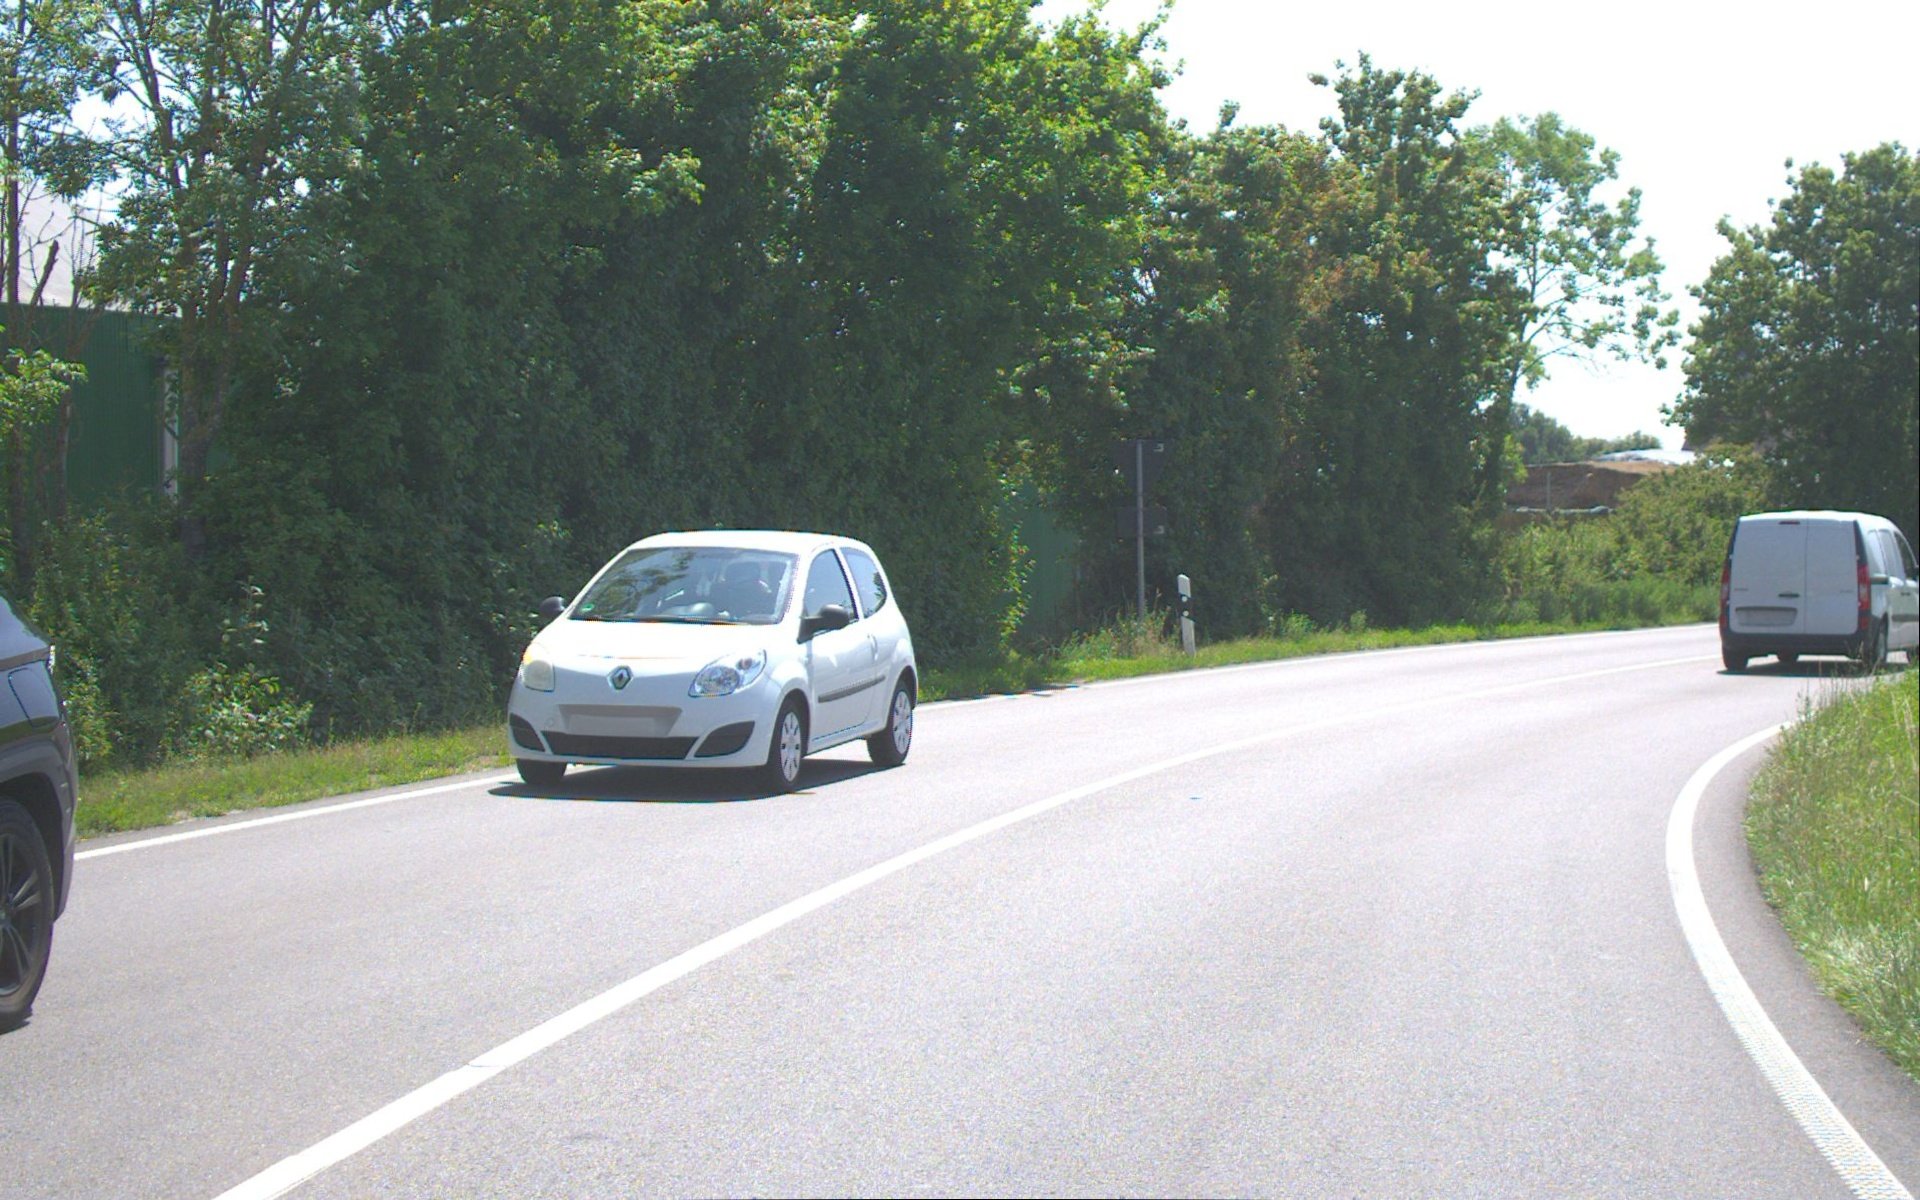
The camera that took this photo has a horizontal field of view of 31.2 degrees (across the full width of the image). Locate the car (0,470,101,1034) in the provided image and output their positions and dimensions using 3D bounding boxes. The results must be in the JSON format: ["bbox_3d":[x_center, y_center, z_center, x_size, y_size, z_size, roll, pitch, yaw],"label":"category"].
[{"bbox_3d":[-3.842,0.451,8.648,1.702,1.632,4.248,1,1,9],"label":"car"}]

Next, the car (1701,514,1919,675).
[{"bbox_3d":[9.835,-0.071,39.118,1.906,1.726,3.817,-1,0,25],"label":"car"}]

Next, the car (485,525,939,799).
[{"bbox_3d":[-1.386,0.326,20.594,1.538,1.438,3.605,2,1,16],"label":"car"}]
